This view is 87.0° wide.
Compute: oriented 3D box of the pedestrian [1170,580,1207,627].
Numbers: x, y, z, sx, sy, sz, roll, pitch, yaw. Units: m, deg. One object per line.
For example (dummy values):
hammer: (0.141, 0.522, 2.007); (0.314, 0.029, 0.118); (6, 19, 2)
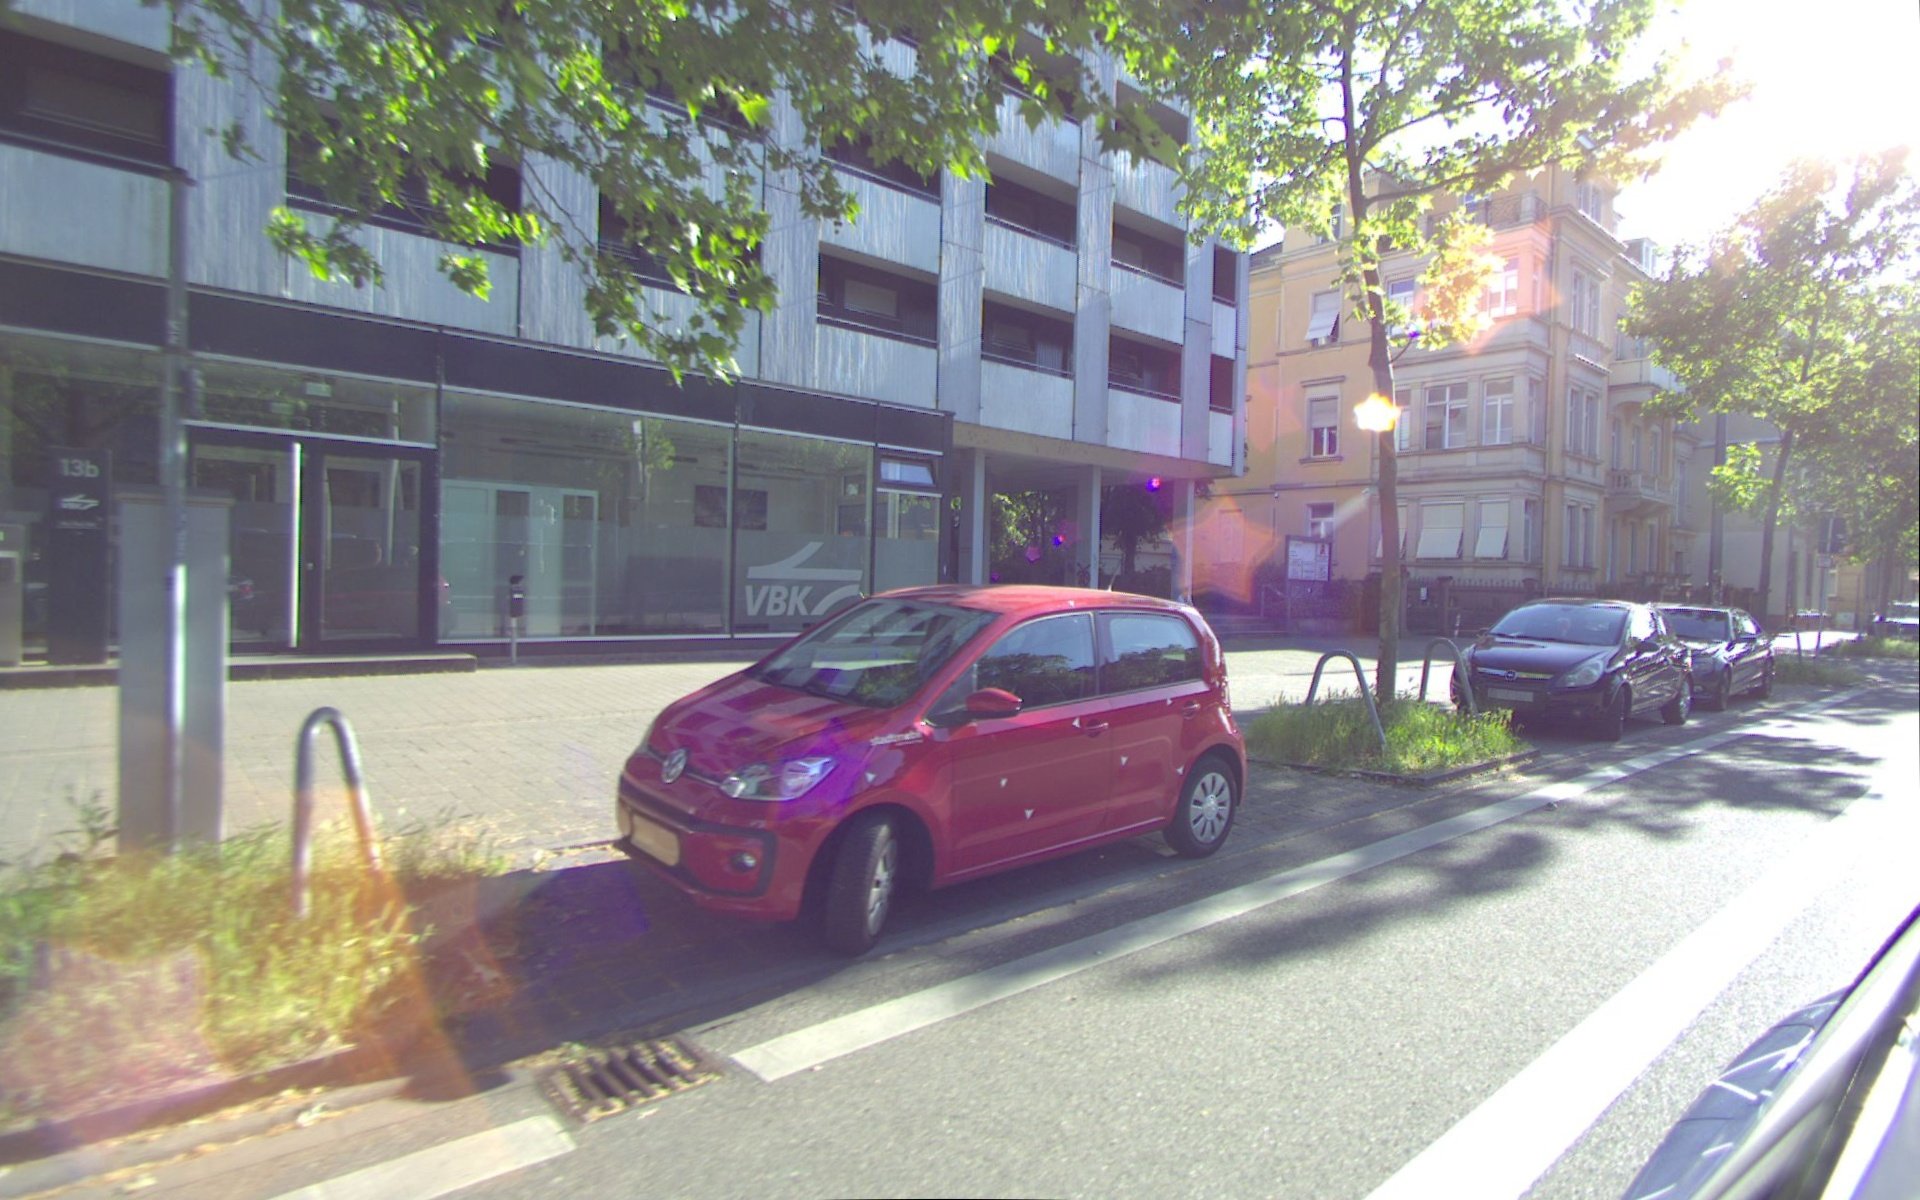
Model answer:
pedestrian: (5.671, 0.087, 25.099); (0.672, 1.123, 0.560); (0, 2, -40)

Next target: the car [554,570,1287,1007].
car: (-0.010, 0.624, 5.369); (3.627, 1.455, 1.676); (-1, 4, -42)

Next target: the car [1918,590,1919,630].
car: (42.912, 0.474, 43.691); (4.199, 1.696, 1.838); (0, 2, -41)

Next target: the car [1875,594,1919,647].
car: (30.757, 0.629, 32.298); (4.199, 1.584, 1.838); (0, 1, -41)

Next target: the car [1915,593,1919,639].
car: (37.543, 0.594, 38.149); (4.199, 1.697, 1.838); (0, 1, -41)

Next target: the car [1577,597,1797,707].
car: (11.073, 0.672, 15.309); (4.201, 1.399, 1.780); (0, 1, -41)

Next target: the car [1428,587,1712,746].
car: (7.092, 0.629, 11.620); (3.861, 1.459, 1.629); (0, 3, -41)
